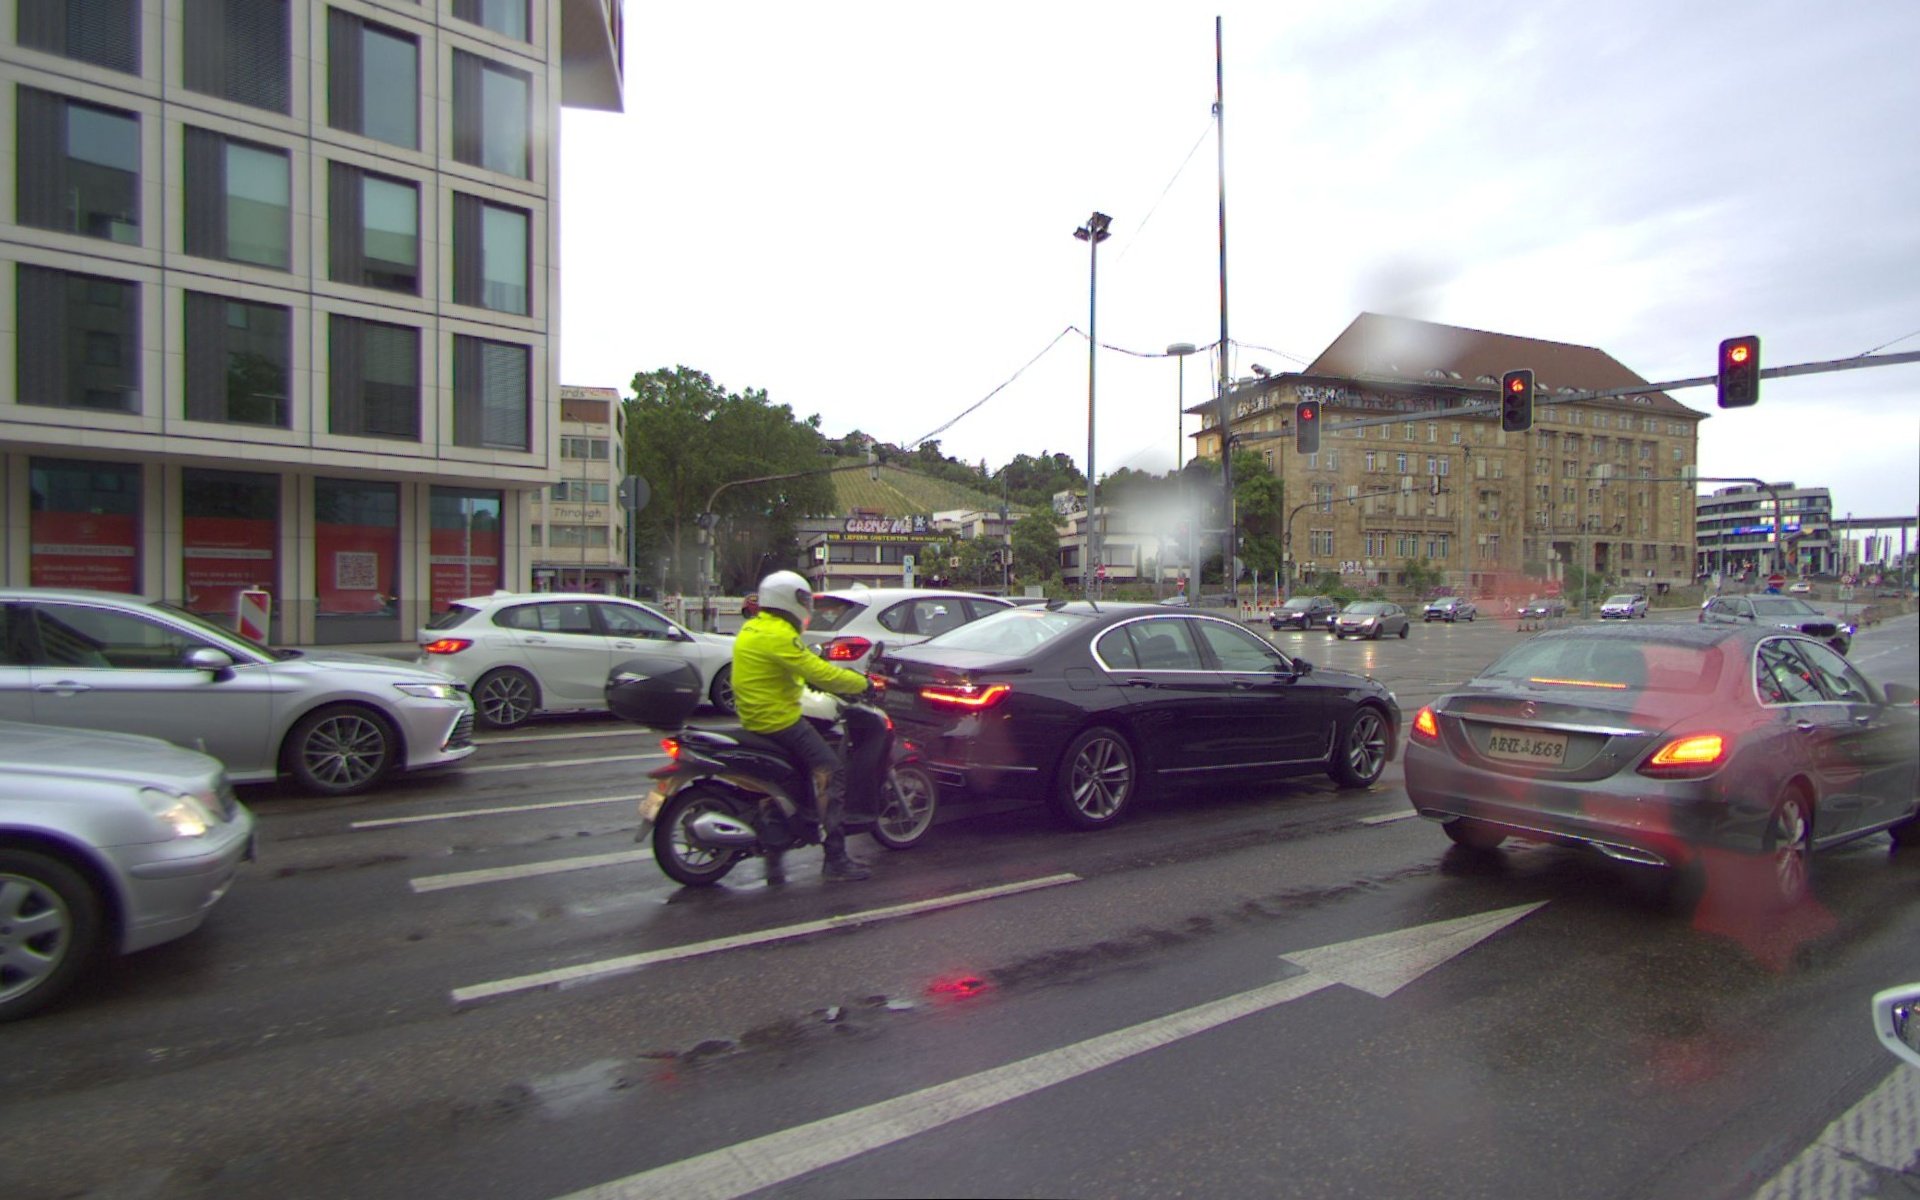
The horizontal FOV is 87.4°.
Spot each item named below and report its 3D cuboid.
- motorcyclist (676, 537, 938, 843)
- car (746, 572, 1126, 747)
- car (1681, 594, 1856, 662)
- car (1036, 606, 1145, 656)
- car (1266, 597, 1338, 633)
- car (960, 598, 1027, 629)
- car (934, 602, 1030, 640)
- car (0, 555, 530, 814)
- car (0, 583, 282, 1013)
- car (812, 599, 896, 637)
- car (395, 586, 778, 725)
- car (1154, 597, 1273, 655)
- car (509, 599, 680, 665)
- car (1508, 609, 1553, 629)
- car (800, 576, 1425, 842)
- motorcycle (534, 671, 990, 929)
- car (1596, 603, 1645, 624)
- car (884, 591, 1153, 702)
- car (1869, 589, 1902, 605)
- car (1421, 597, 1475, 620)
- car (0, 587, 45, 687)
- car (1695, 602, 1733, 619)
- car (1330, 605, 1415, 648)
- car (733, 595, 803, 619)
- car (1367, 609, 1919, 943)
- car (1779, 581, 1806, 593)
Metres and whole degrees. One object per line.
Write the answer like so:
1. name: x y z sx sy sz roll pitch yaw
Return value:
1. motorcyclist: -0.857 0.445 5.621 1.091 1.495 0.933 2 0 -40
2. car: -0.178 0.599 11.231 3.962 1.637 1.720 2 0 -36
3. car: 24.586 0.805 30.828 1.959 1.821 5.106 2 0 11
4. car: 4.325 1.023 33.019 3.527 1.539 1.683 2 -2 -41
5. car: 16.837 0.754 49.380 3.972 1.668 1.608 2 0 -43
6. car: 2.350 0.948 70.471 4.151 2.040 1.996 2 0 31
7. car: 1.055 1.015 49.690 4.320 1.684 1.995 2 0 33
8. car: -5.755 0.507 7.043 4.753 1.541 1.819 2 0 -35
9. car: -4.837 0.613 3.242 4.340 1.422 1.721 2 0 -36
10. car: -5.016 0.834 47.239 3.941 1.617 1.667 2 0 42
11. car: -4.384 0.612 12.013 3.955 1.391 1.771 2 0 -36
12. car: 7.835 0.813 30.829 3.972 1.635 1.608 2 0 -43
13. car: -9.079 0.796 25.089 3.664 1.539 1.681 2 -2 -44
14. car: 39.375 1.300 69.308 3.306 1.277 1.721 2 0 -43
15. car: 1.407 0.690 7.977 4.952 1.535 1.875 2 0 -35
16. motorcycle: -0.999 0.956 5.497 2.275 1.002 0.934 1 0 -40
17. car: 45.888 0.960 69.742 4.162 1.277 1.752 2 0 -41
18. car: 0.959 0.748 16.457 4.018 1.621 1.778 2 0 -25
19. car: 122.359 -0.386 132.844 1.961 2.040 3.998 2 0 22
20. car: 29.624 0.521 60.915 3.972 1.277 1.608 2 0 -43
21. car: -16.497 0.551 15.202 3.845 1.539 1.683 2 -2 -41
22. car: 63.892 0.863 85.069 3.969 1.277 1.752 2 0 -41
23. car: 16.665 1.091 40.507 3.972 1.595 1.681 2 0 -43
24. car: -11.798 0.447 61.848 3.922 1.339 1.654 2 0 22
25. car: 4.740 0.806 6.503 4.440 1.421 1.772 0 1 -35
26. car: 136.894 -2.145 165.228 1.960 1.840 4.001 2 0 18
